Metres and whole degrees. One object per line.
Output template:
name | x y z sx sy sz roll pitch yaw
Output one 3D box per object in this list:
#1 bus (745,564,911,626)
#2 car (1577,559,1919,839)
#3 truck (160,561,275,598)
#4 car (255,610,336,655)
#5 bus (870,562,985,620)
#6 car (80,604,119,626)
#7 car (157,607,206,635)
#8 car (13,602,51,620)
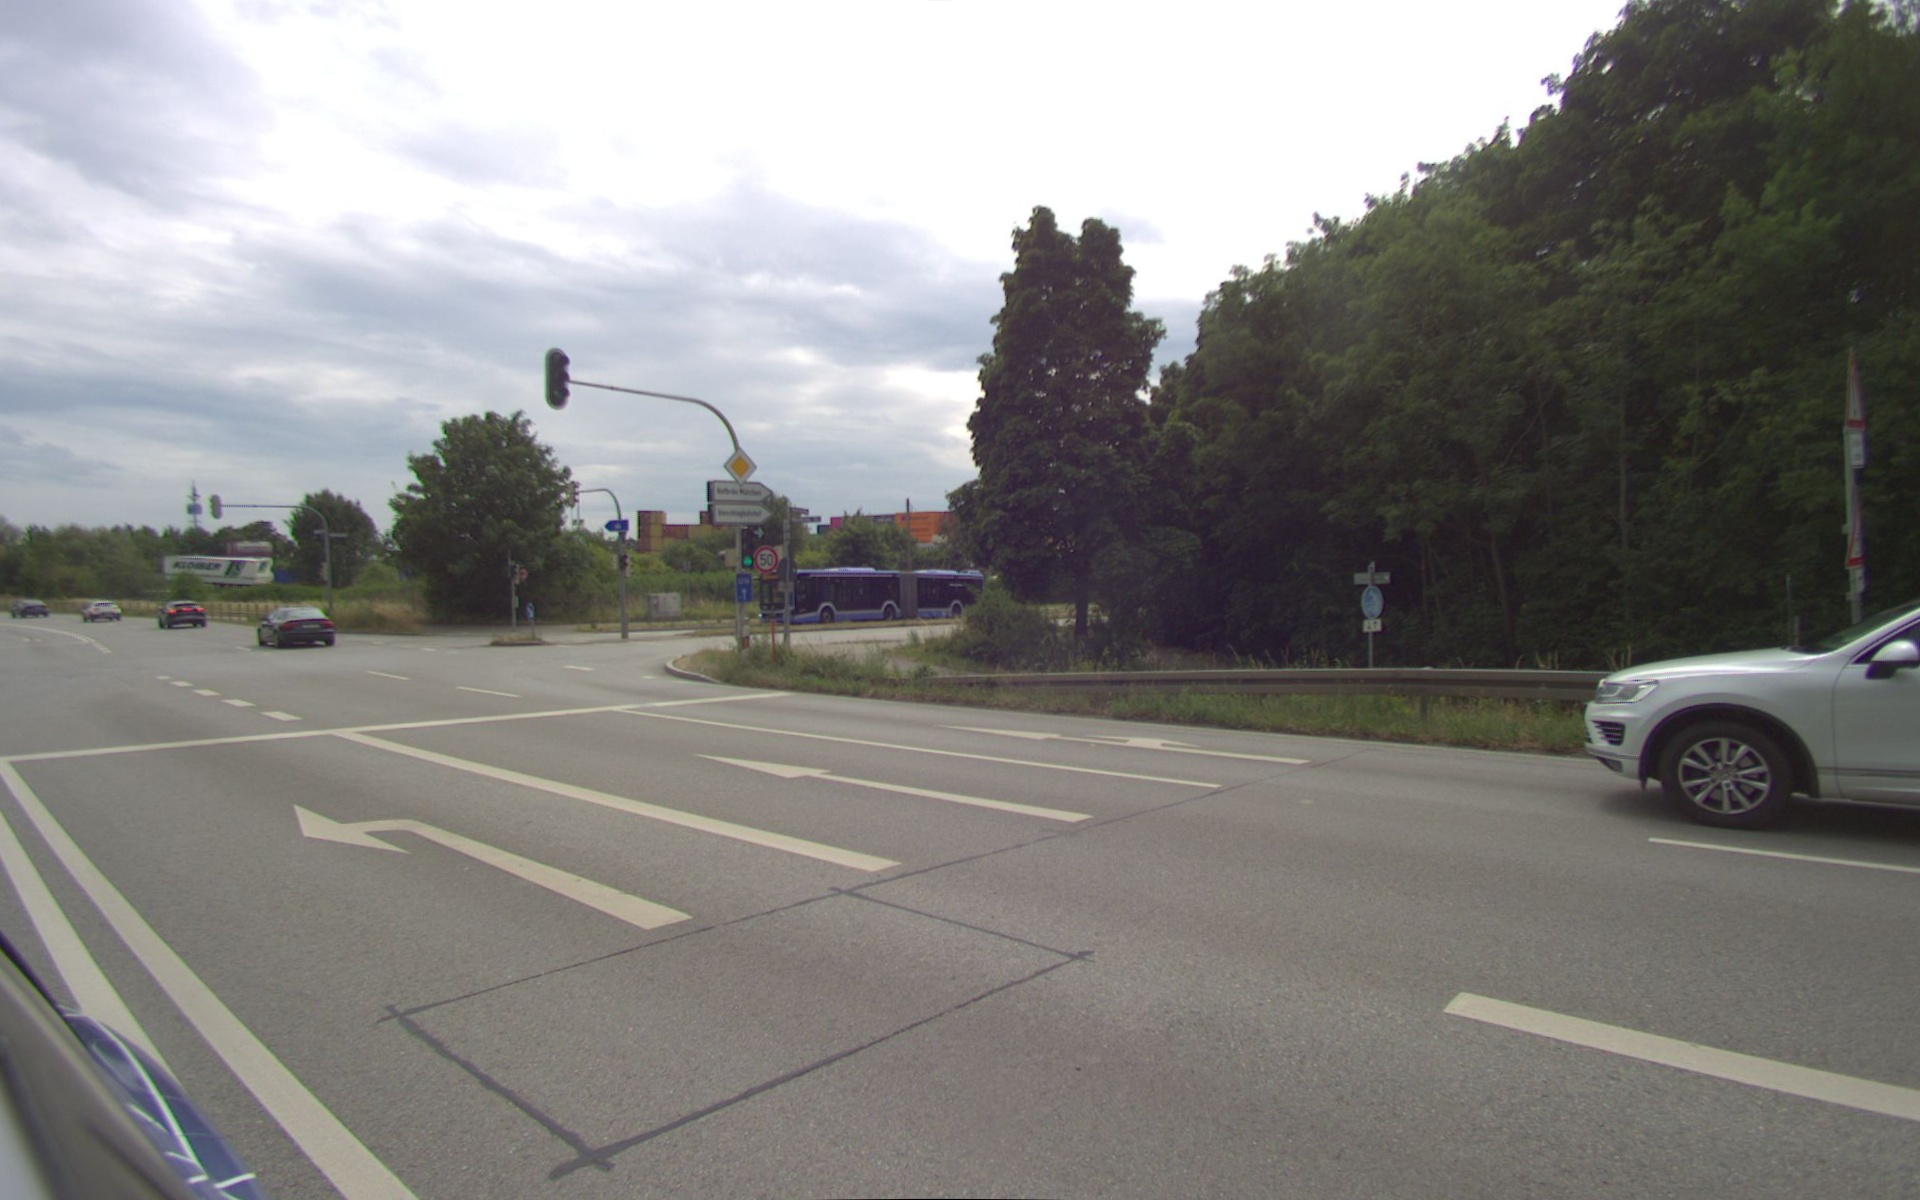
bus | -6.928 -0.288 55.204 3.115 3.069 9.954 -1 0 35
car | 6.742 0.572 6.278 4.734 1.656 1.839 -2 -1 41
truck | -100.650 -2.744 137.188 14.040 4.358 3.356 2 1 7
car | -24.080 1.125 36.627 1.719 1.497 4.204 -1 1 -44
bus | -1.885 -0.568 62.494 3.115 3.372 7.733 -1 0 35
car | -63.842 1.065 75.025 4.001 1.497 1.721 0 3 43
car | -44.575 1.180 57.933 1.720 1.395 4.003 -4 3 -44
car | -81.530 0.961 88.909 3.993 1.395 1.724 0 3 37
